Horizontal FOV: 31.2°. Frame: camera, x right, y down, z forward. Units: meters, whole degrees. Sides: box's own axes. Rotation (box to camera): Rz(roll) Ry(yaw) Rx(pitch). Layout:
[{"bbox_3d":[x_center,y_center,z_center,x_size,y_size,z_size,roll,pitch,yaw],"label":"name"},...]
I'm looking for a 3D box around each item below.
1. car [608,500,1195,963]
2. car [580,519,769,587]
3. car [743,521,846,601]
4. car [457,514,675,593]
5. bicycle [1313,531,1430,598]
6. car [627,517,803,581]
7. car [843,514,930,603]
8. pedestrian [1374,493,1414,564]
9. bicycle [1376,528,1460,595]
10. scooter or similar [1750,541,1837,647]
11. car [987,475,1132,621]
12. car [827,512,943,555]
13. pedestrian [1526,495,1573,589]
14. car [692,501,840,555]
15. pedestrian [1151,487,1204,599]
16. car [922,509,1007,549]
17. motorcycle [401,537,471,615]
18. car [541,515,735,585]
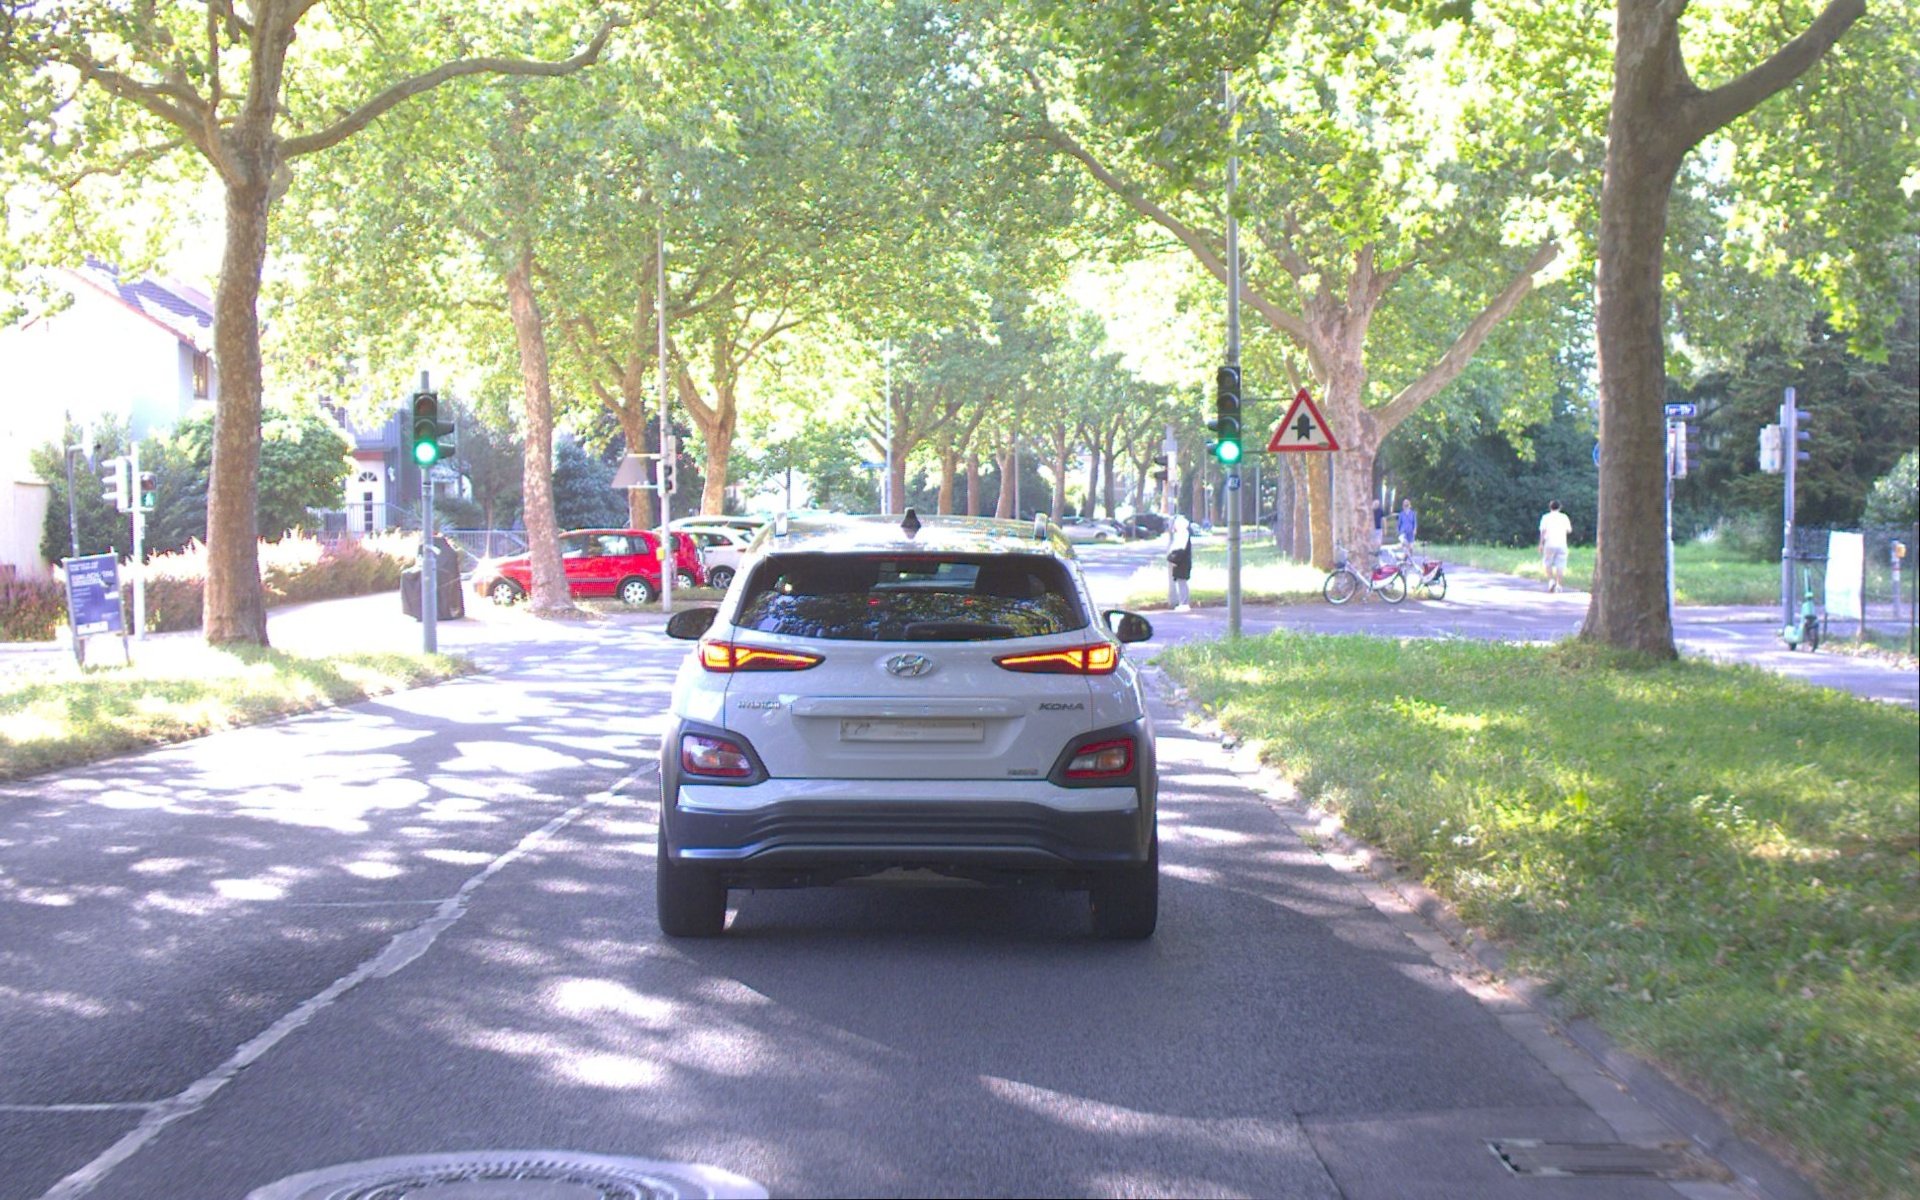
[{"bbox_3d":[-0.196,0.417,13.760,1.993,1.569,4.000,0,1,0],"label":"car"},{"bbox_3d":[-6.370,-1.062,76.938,3.987,1.473,2.000,0,1,2],"label":"car"},{"bbox_3d":[-3.101,-0.758,64.896,1.688,1.432,3.682,0,2,1],"label":"car"},{"bbox_3d":[-7.656,-0.908,67.103,3.987,1.473,2.000,0,1,2],"label":"car"},{"bbox_3d":[7.197,-0.626,60.239,0.603,1.160,2.149,0,1,-43],"label":"bicycle"},{"bbox_3d":[-5.778,-1.216,81.554,3.987,1.473,2.000,0,1,2],"label":"car"},{"bbox_3d":[-1.578,-0.904,74.882,1.791,1.875,4.000,0,1,0],"label":"car"},{"bbox_3d":[12.239,-2.014,96.907,1.095,2.007,1.105,0,1,7],"label":"pedestrian"},{"bbox_3d":[8.153,-0.687,61.283,0.603,1.179,2.119,0,1,-18],"label":"bicycle"},{"bbox_3d":[10.207,-0.085,42.165,0.549,1.254,2.313,0,1,2],"label":"scooter or similar"},{"bbox_3d":[1.385,-0.759,49.345,1.993,2.007,4.000,0,1,0],"label":"car"},{"bbox_3d":[-2.613,-2.315,120.446,3.987,1.473,2.000,0,1,2],"label":"car"},{"bbox_3d":[11.050,-1.085,64.475,0.834,1.730,0.885,1,1,9],"label":"pedestrian"},{"bbox_3d":[-5.437,-2.024,96.504,3.987,1.473,2.000,0,1,2],"label":"car"},{"bbox_3d":[3.928,-1.023,61.987,0.868,2.007,0.813,1,1,9],"label":"pedestrian"},{"bbox_3d":[0.191,-3.259,158.339,3.668,1.802,1.749,0,1,-8],"label":"car"},{"bbox_3d":[-9.511,-0.443,62.501,0.846,1.374,2.776,0,1,0],"label":"motorcycle"},{"bbox_3d":[-6.975,-1.094,74.703,3.987,1.473,2.000,0,1,2],"label":"car"}]
